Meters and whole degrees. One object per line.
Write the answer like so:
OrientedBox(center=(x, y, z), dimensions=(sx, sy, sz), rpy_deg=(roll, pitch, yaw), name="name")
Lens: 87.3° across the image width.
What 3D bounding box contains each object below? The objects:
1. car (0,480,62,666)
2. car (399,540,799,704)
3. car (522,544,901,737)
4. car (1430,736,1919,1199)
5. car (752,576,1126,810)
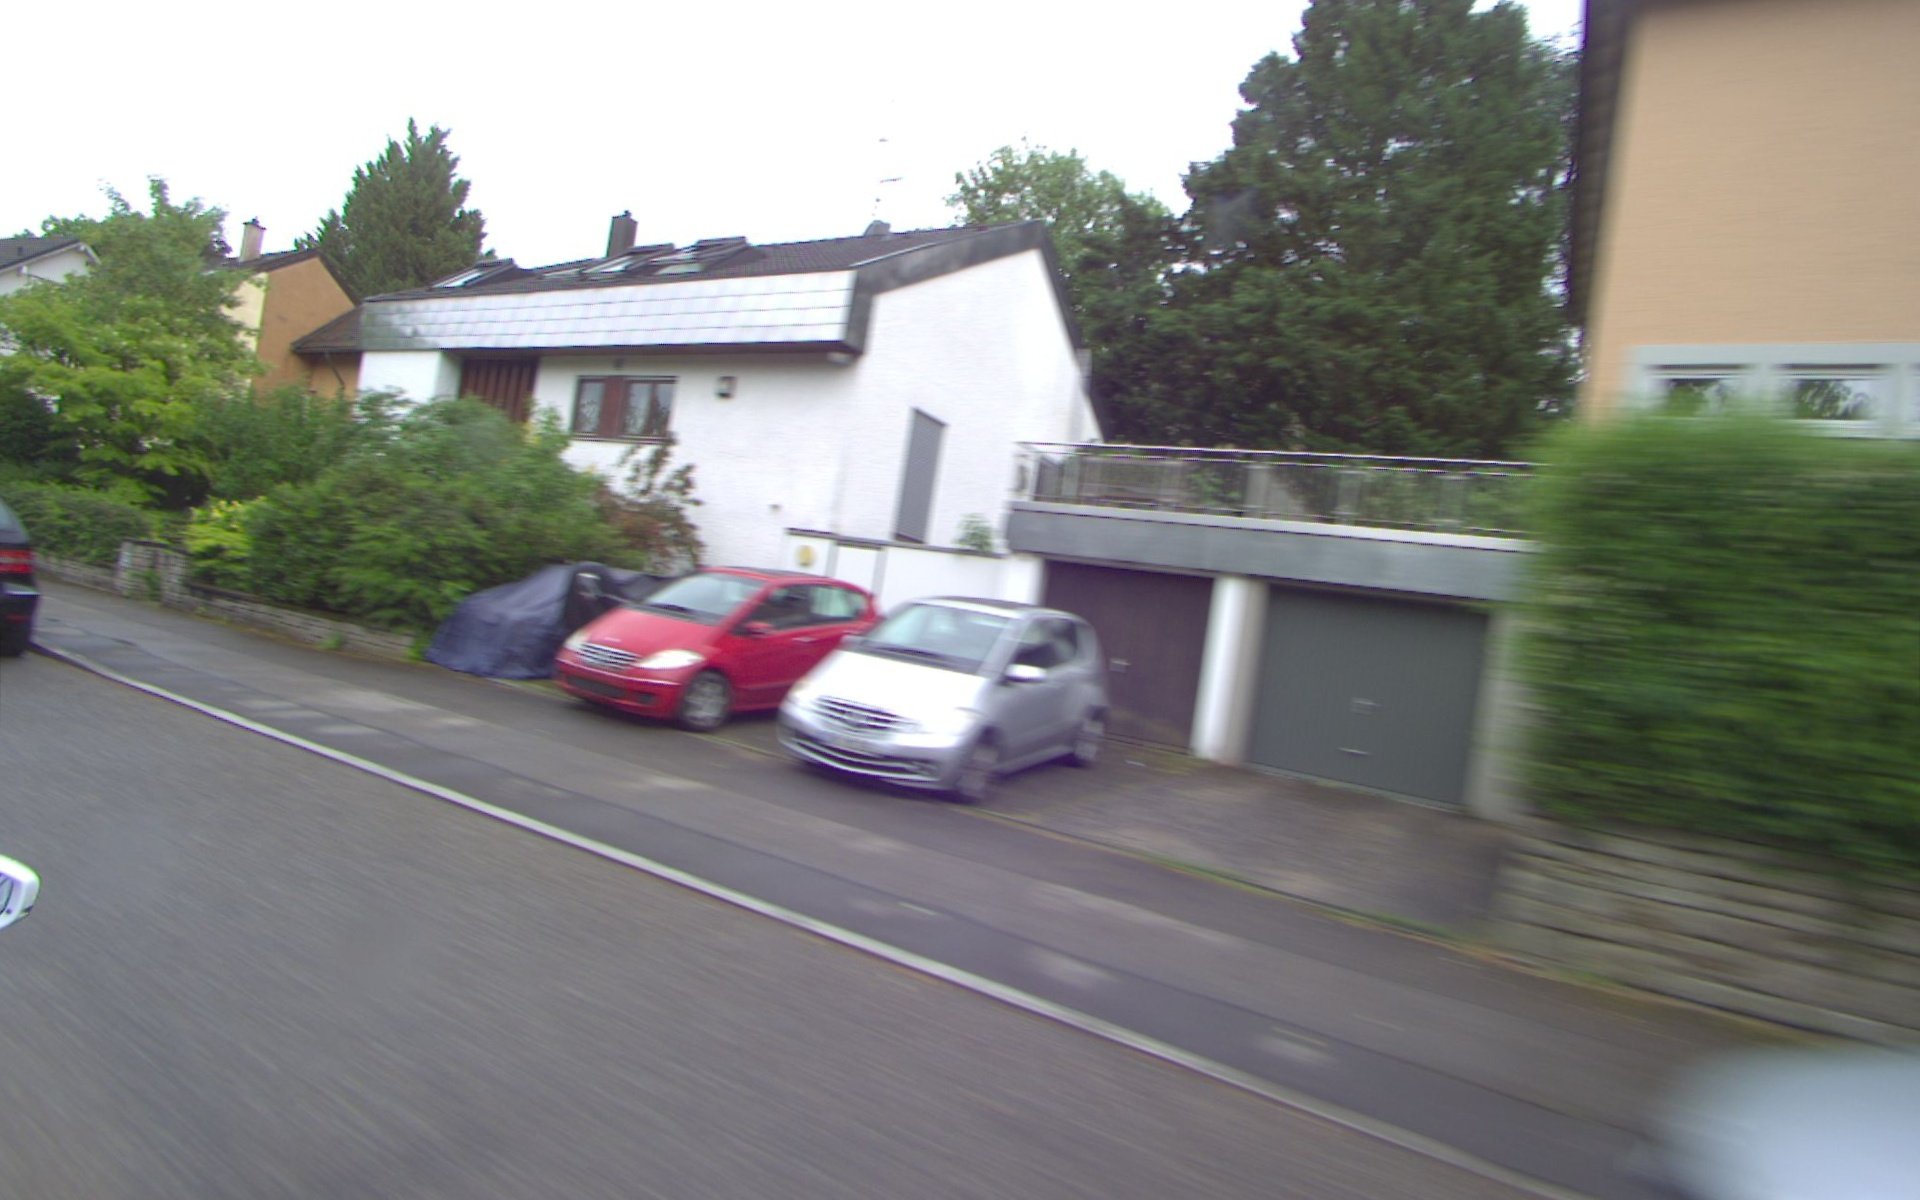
OrientedBox(center=(-10.409, -0.515, 9.387), dimensions=(4.446, 1.586, 1.733), rpy_deg=(7, -1, 32), name="car")
OrientedBox(center=(-4.111, 0.379, 12.214), dimensions=(1.851, 1.477, 4.254), rpy_deg=(6, -3, 31), name="car")
OrientedBox(center=(-2.500, 0.461, 10.944), dimensions=(1.851, 1.585, 3.663), rpy_deg=(7, 0, 31), name="car")
OrientedBox(center=(2.932, 1.223, 1.398), dimensions=(4.033, 1.414, 1.817), rpy_deg=(6, -2, 30), name="car")
OrientedBox(center=(0.017, 0.754, 9.436), dimensions=(1.797, 1.556, 3.662), rpy_deg=(7, 1, 28), name="car")
